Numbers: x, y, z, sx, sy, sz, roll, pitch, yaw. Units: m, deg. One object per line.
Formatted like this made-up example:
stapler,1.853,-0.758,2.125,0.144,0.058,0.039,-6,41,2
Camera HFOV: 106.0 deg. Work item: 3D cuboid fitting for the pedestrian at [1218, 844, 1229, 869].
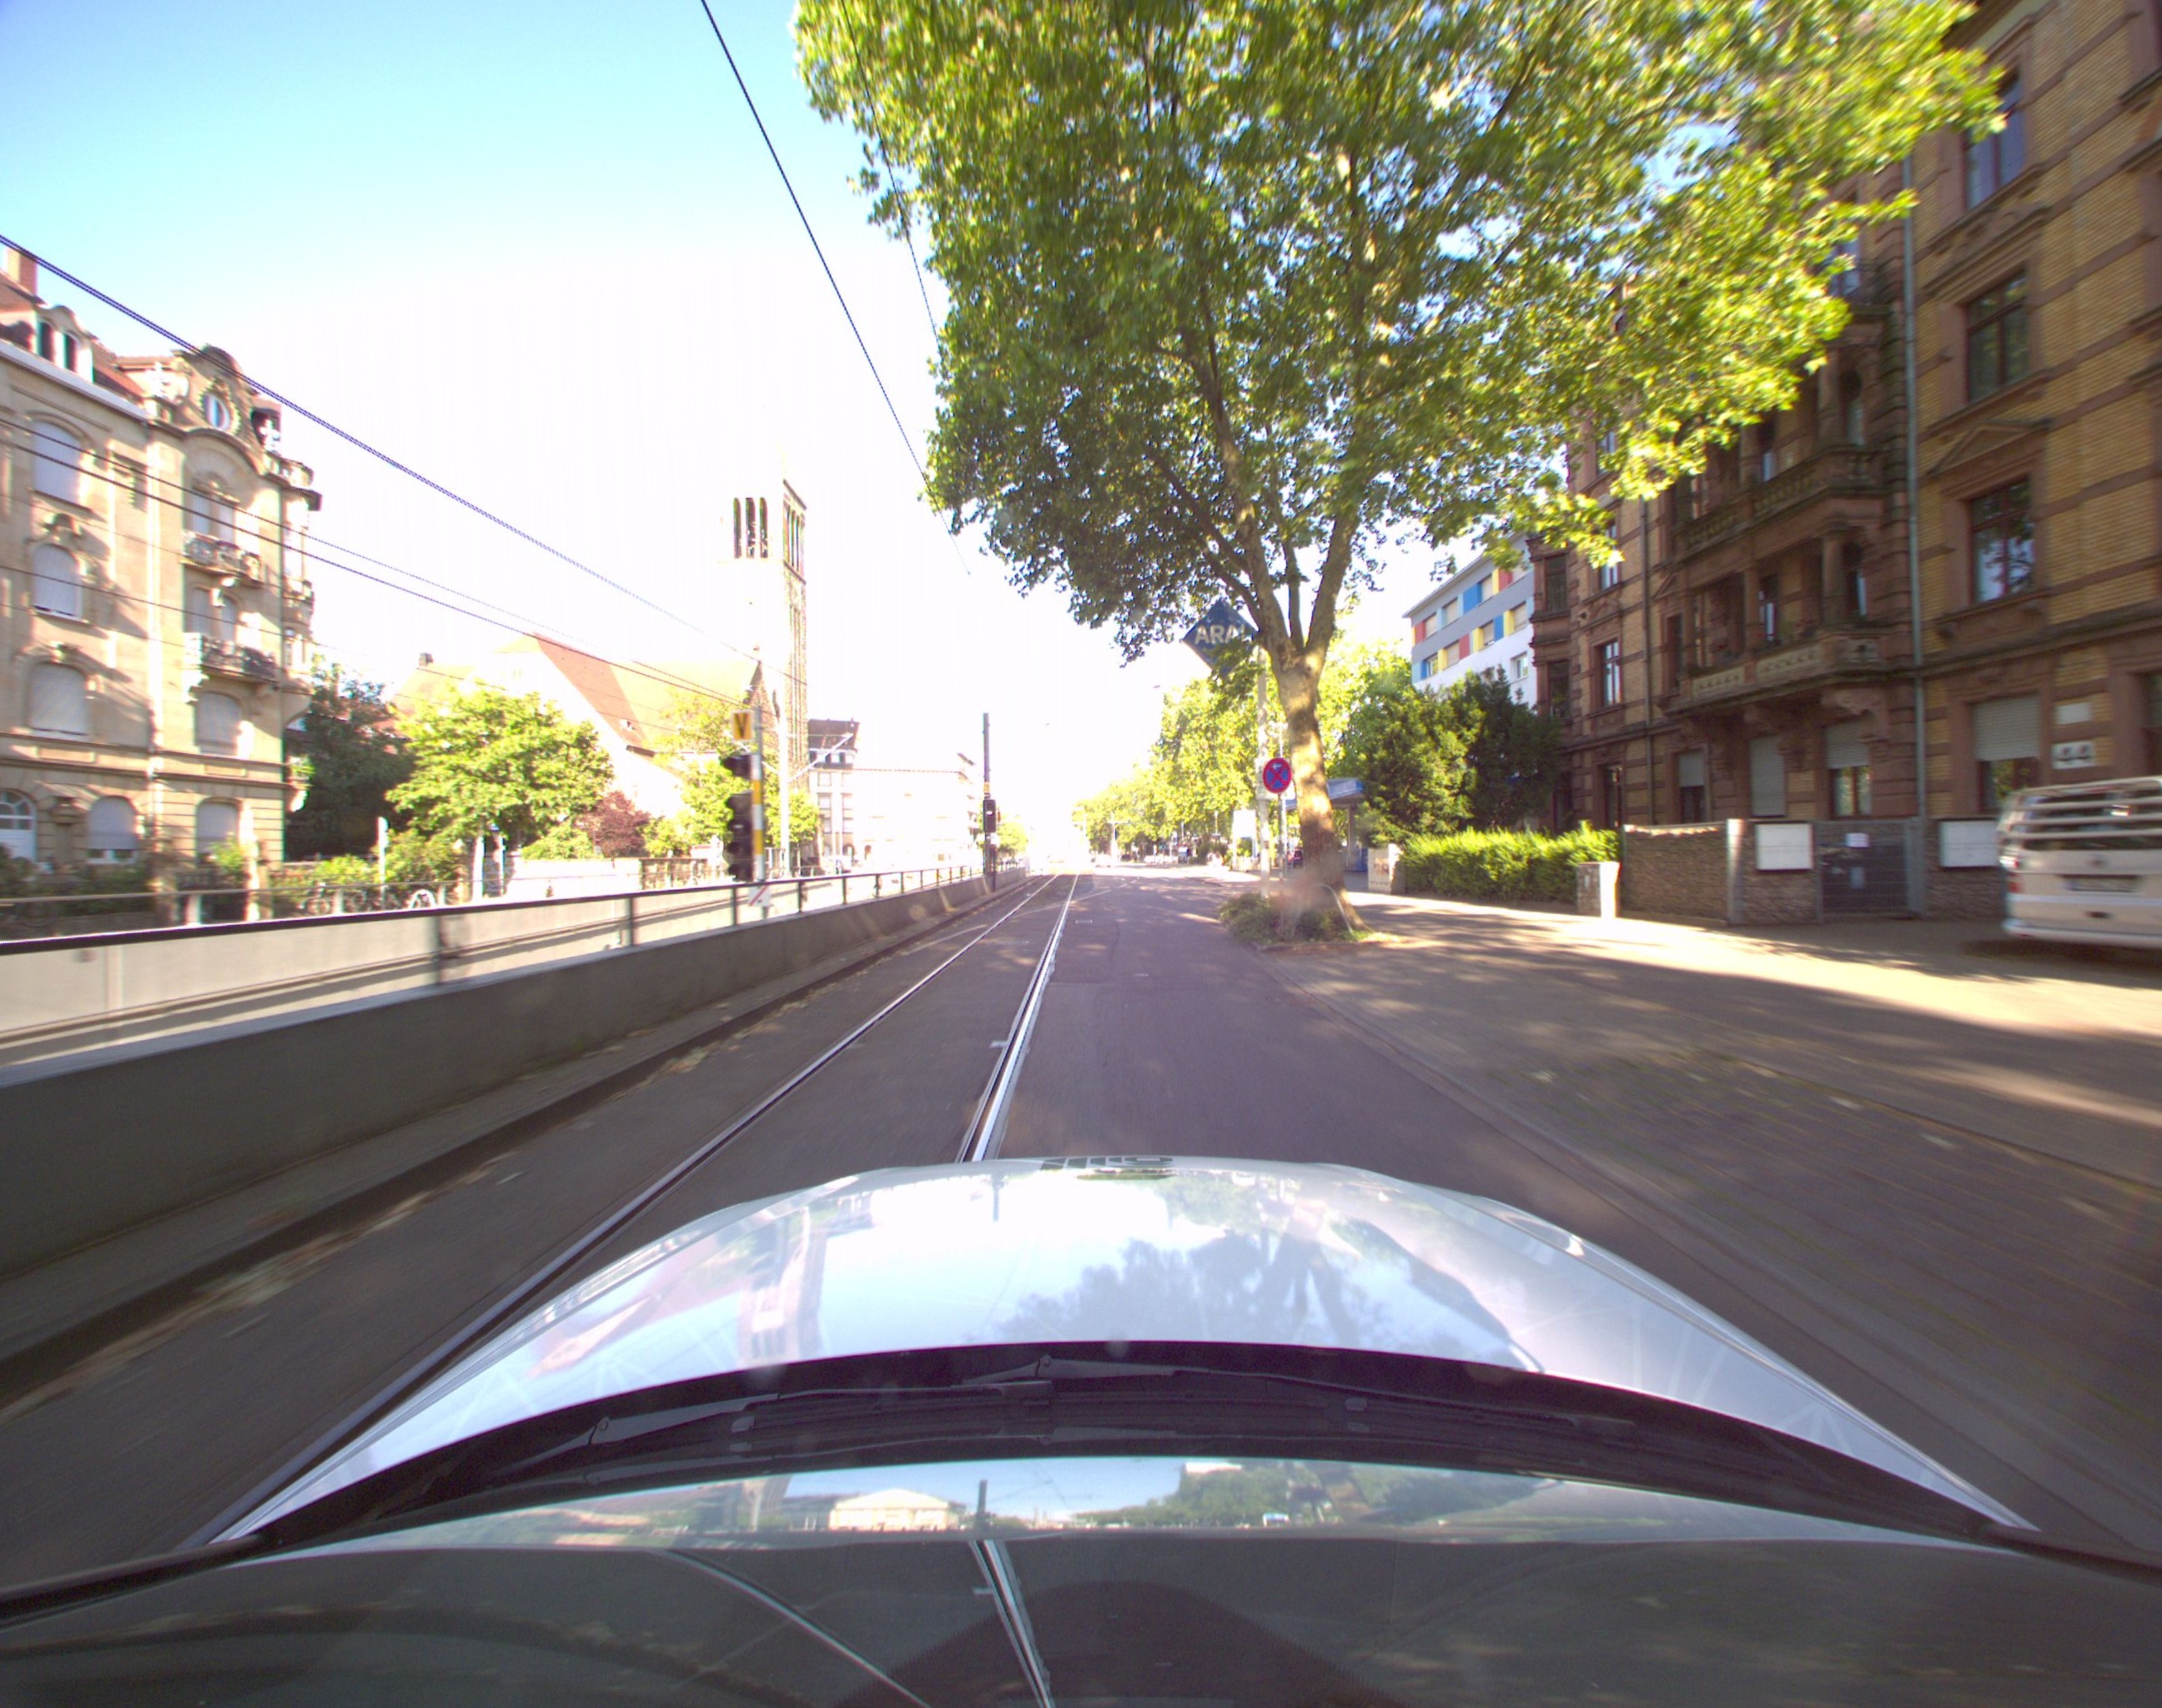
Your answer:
pedestrian,10.500,0.204,60.045,0.600,1.776,0.691,-5,-1,4

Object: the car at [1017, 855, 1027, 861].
car,-14.598,0.975,200.966,1.987,1.449,4.841,-4,0,1

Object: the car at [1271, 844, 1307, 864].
car,18.240,-0.003,71.708,1.813,1.602,4.658,-1,1,-2

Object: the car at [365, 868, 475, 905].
car,-33.555,1.642,41.406,3.976,1.651,1.818,-2,0,-2

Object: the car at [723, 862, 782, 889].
car,-20.843,1.320,51.854,1.709,1.555,4.512,1,0,2

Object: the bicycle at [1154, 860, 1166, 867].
bicycle,12.323,1.493,127.340,1.199,0.934,2.565,1,0,-10

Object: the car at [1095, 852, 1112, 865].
car,2.561,0.512,93.618,1.740,1.462,3.643,1,0,-1

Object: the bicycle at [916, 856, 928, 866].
bicycle,-18.687,0.824,95.803,0.628,1.144,2.284,-3,0,7

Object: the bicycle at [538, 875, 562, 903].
bicycle,-20.872,1.361,32.033,0.487,1.022,1.878,1,0,-23

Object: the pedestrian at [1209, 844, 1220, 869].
pedestrian,9.870,0.173,60.165,0.600,1.776,0.880,-5,0,4

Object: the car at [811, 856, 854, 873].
car,-26.823,1.120,87.855,3.971,1.756,1.896,1,0,2

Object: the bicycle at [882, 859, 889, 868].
bicycle,-29.096,1.379,121.215,0.824,1.282,2.549,1,0,-18

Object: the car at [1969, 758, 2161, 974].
car,12.339,-0.005,8.256,4.558,2.013,1.914,-3,0,-1

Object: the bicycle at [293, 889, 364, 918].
bicycle,-24.167,1.589,26.203,0.414,0.800,1.889,1,0,3

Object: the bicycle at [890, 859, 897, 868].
bicycle,-28.156,1.394,122.155,0.821,1.282,2.558,1,0,-8

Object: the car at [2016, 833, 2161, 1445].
car,3.408,0.673,0.253,1.547,1.499,4.049,-2,0,0

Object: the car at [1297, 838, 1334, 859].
car,20.349,-0.535,70.969,1.854,1.735,4.799,-1,1,0

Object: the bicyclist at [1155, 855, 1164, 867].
bicyclist,12.328,1.095,127.369,1.199,1.696,0.900,1,0,-11

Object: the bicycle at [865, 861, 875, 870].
bicycle,-31.223,1.684,120.409,0.827,1.282,2.540,1,0,-30

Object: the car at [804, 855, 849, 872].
car,-26.506,1.011,84.966,3.971,1.629,1.896,1,0,2

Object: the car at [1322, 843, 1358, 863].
car,22.573,-0.123,71.125,1.854,1.570,4.000,-1,1,0

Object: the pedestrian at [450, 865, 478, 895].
pedestrian,-33.698,1.413,44.471,0.739,1.588,0.938,1,0,17

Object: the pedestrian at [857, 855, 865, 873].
pedestrian,-23.342,1.046,86.366,0.602,1.887,0.757,1,0,3

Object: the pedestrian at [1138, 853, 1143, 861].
pedestrian,10.467,0.528,142.924,0.653,1.388,0.837,1,0,32

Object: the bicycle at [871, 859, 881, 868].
bicycle,-30.427,1.353,120.876,0.827,1.282,2.540,1,0,-30

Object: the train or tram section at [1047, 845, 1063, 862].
train or tram section,-5.545,-0.089,177.682,2.942,3.410,10.792,1,0,1

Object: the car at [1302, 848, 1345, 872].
car,16.065,0.386,54.093,1.562,1.430,4.097,-2,0,0

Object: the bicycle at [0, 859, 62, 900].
bicycle,-27.698,0.657,20.819,0.503,1.018,2.114,1,0,4
